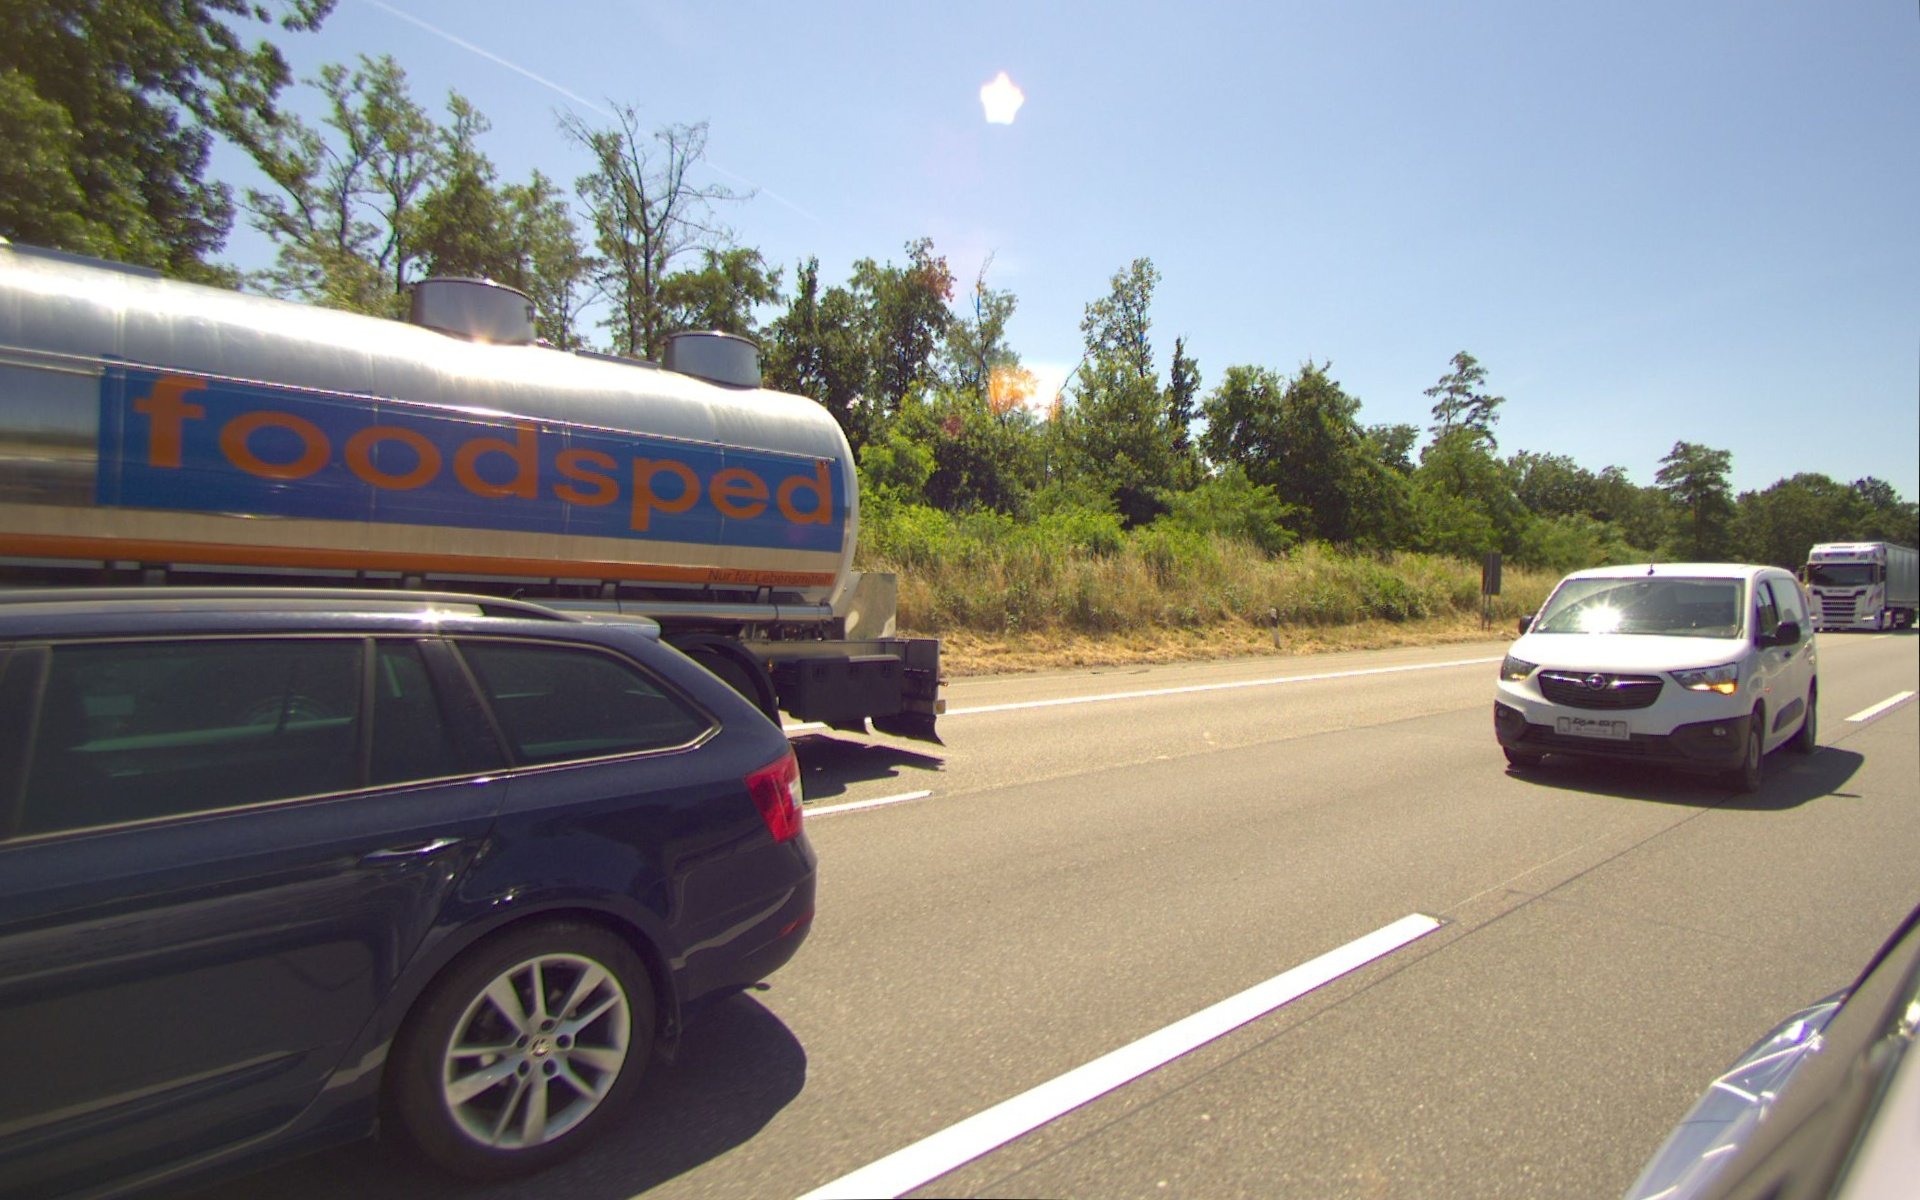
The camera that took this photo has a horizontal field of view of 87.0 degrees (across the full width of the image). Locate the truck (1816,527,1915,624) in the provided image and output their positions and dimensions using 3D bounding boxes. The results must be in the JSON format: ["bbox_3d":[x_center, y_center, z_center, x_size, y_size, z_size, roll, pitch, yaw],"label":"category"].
[{"bbox_3d":[40.781,-1.061,45.531,6.066,4.053,2.601,0,0,-41],"label":"truck"}]

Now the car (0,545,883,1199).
[{"bbox_3d":[-2.404,0.647,2.529,4.198,1.502,1.804,0,0,-42],"label":"car"}]

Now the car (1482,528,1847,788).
[{"bbox_3d":[6.803,0.389,9.522,4.858,1.840,1.867,0,0,-43],"label":"car"}]

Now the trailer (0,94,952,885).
[{"bbox_3d":[-5.169,-0.536,6.000,11.347,3.781,2.533,0,0,-41],"label":"trailer"}]

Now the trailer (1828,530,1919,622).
[{"bbox_3d":[45.970,-1.110,50.099,13.835,4.053,2.601,-1,0,-41],"label":"trailer"}]
